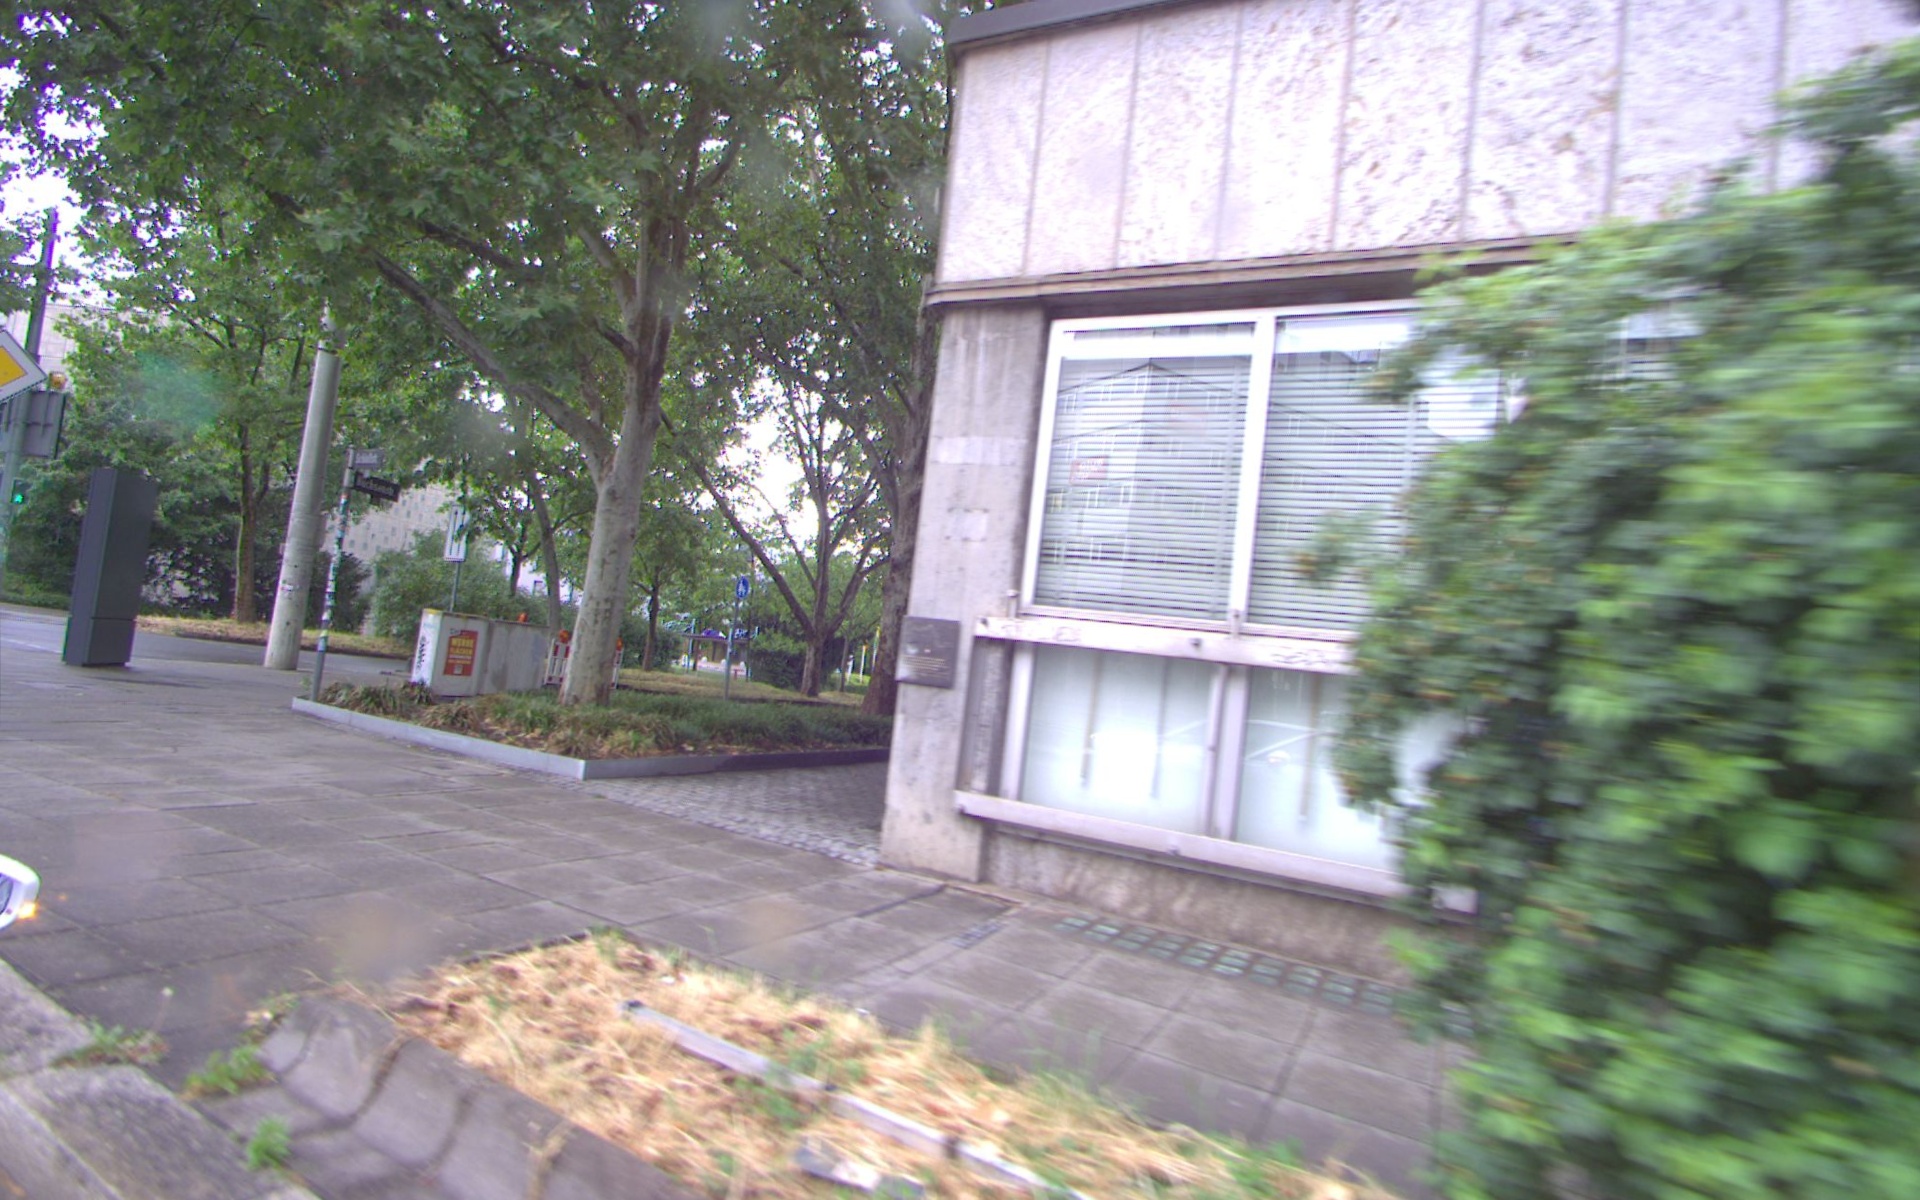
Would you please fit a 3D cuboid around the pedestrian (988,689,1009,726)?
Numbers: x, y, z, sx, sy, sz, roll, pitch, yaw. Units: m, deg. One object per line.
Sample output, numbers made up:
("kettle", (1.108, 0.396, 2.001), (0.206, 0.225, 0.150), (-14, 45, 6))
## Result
("pedestrian", (1.827, 5.095, 47.555), (0.512, 1.655, 0.936), (6, -4, 21))
